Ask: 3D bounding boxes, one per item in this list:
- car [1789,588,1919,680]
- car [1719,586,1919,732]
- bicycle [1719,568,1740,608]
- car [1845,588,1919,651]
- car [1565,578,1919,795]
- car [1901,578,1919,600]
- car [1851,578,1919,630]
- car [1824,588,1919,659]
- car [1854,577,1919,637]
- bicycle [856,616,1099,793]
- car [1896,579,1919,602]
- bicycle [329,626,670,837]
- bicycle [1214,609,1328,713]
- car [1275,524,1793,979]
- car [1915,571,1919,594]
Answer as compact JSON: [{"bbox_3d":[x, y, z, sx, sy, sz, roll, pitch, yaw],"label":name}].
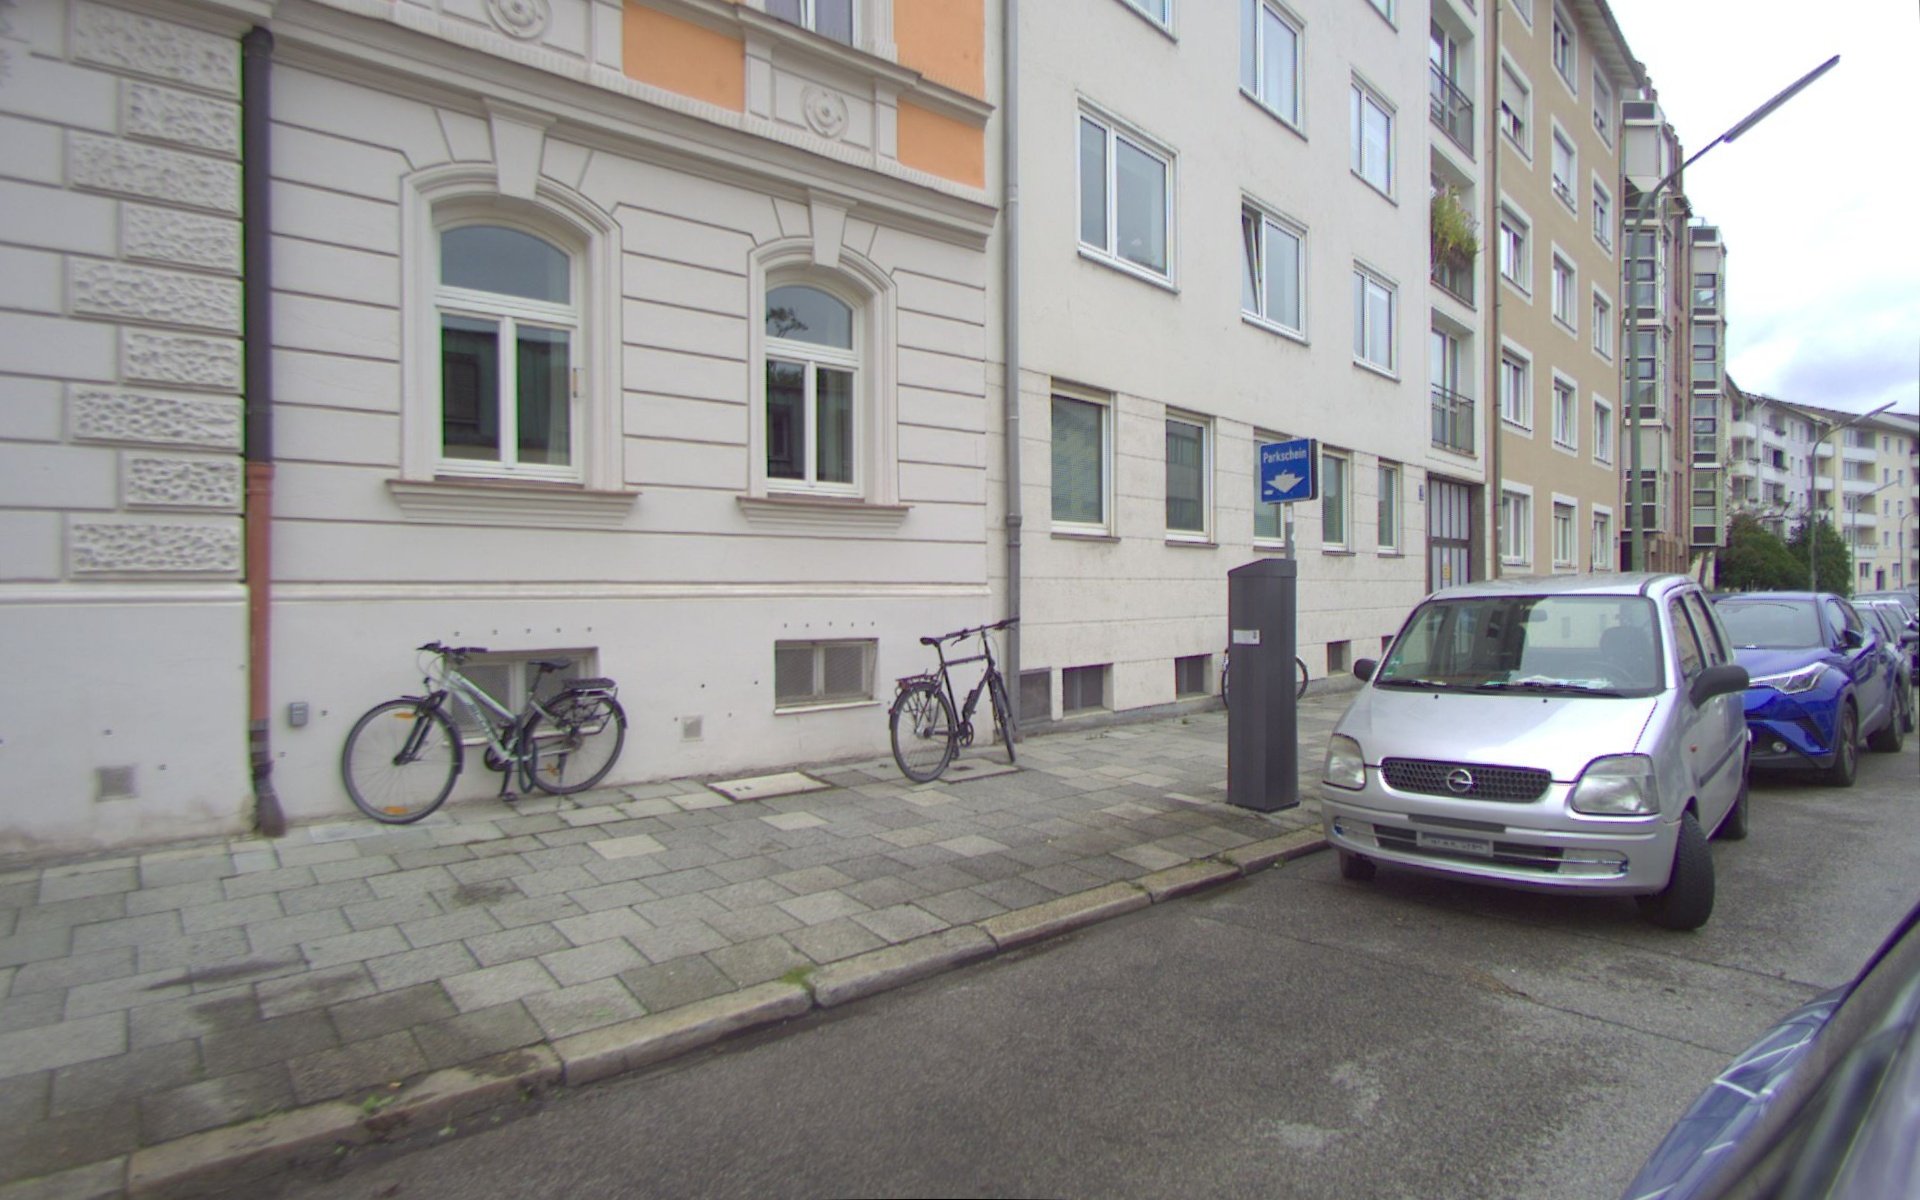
[{"bbox_3d":[16.881,0.532,18.737,1.955,1.432,5.032,-1,1,44],"label":"car"},{"bbox_3d":[10.759,0.619,12.430,1.705,1.473,4.332,-4,-2,44],"label":"car"},{"bbox_3d":[40.178,-0.639,52.831,0.652,2.039,1.962,-1,0,44],"label":"bicycle"},{"bbox_3d":[24.315,0.468,26.370,1.755,1.383,4.711,-6,-3,41],"label":"car"},{"bbox_3d":[7.340,0.581,9.186,4.466,1.513,1.746,-1,0,-39],"label":"car"},{"bbox_3d":[67.547,-0.786,70.954,3.929,1.494,1.823,-1,0,-40],"label":"car"},{"bbox_3d":[30.926,0.103,33.705,1.876,1.611,4.440,-1,1,42],"label":"car"},{"bbox_3d":[20.604,0.456,22.531,1.853,1.432,4.936,-1,0,43],"label":"car"},{"bbox_3d":[27.969,0.167,30.105,1.874,1.666,4.578,-1,1,40],"label":"car"},{"bbox_3d":[0.190,0.709,7.690,0.722,1.126,1.964,-1,0,43],"label":"bicycle"},{"bbox_3d":[63.804,-0.656,67.612,1.750,1.511,3.937,-1,0,44],"label":"car"},{"bbox_3d":[-2.720,0.708,6.122,1.786,1.037,0.596,-1,1,-43],"label":"bicycle"},{"bbox_3d":[3.672,0.666,11.837,0.528,1.085,1.971,-1,0,41],"label":"bicycle"},{"bbox_3d":[3.448,0.558,5.734,1.680,1.695,3.745,-3,-1,43],"label":"car"},{"bbox_3d":[71.310,-1.292,73.661,3.927,1.616,1.999,-1,0,-38],"label":"car"}]
